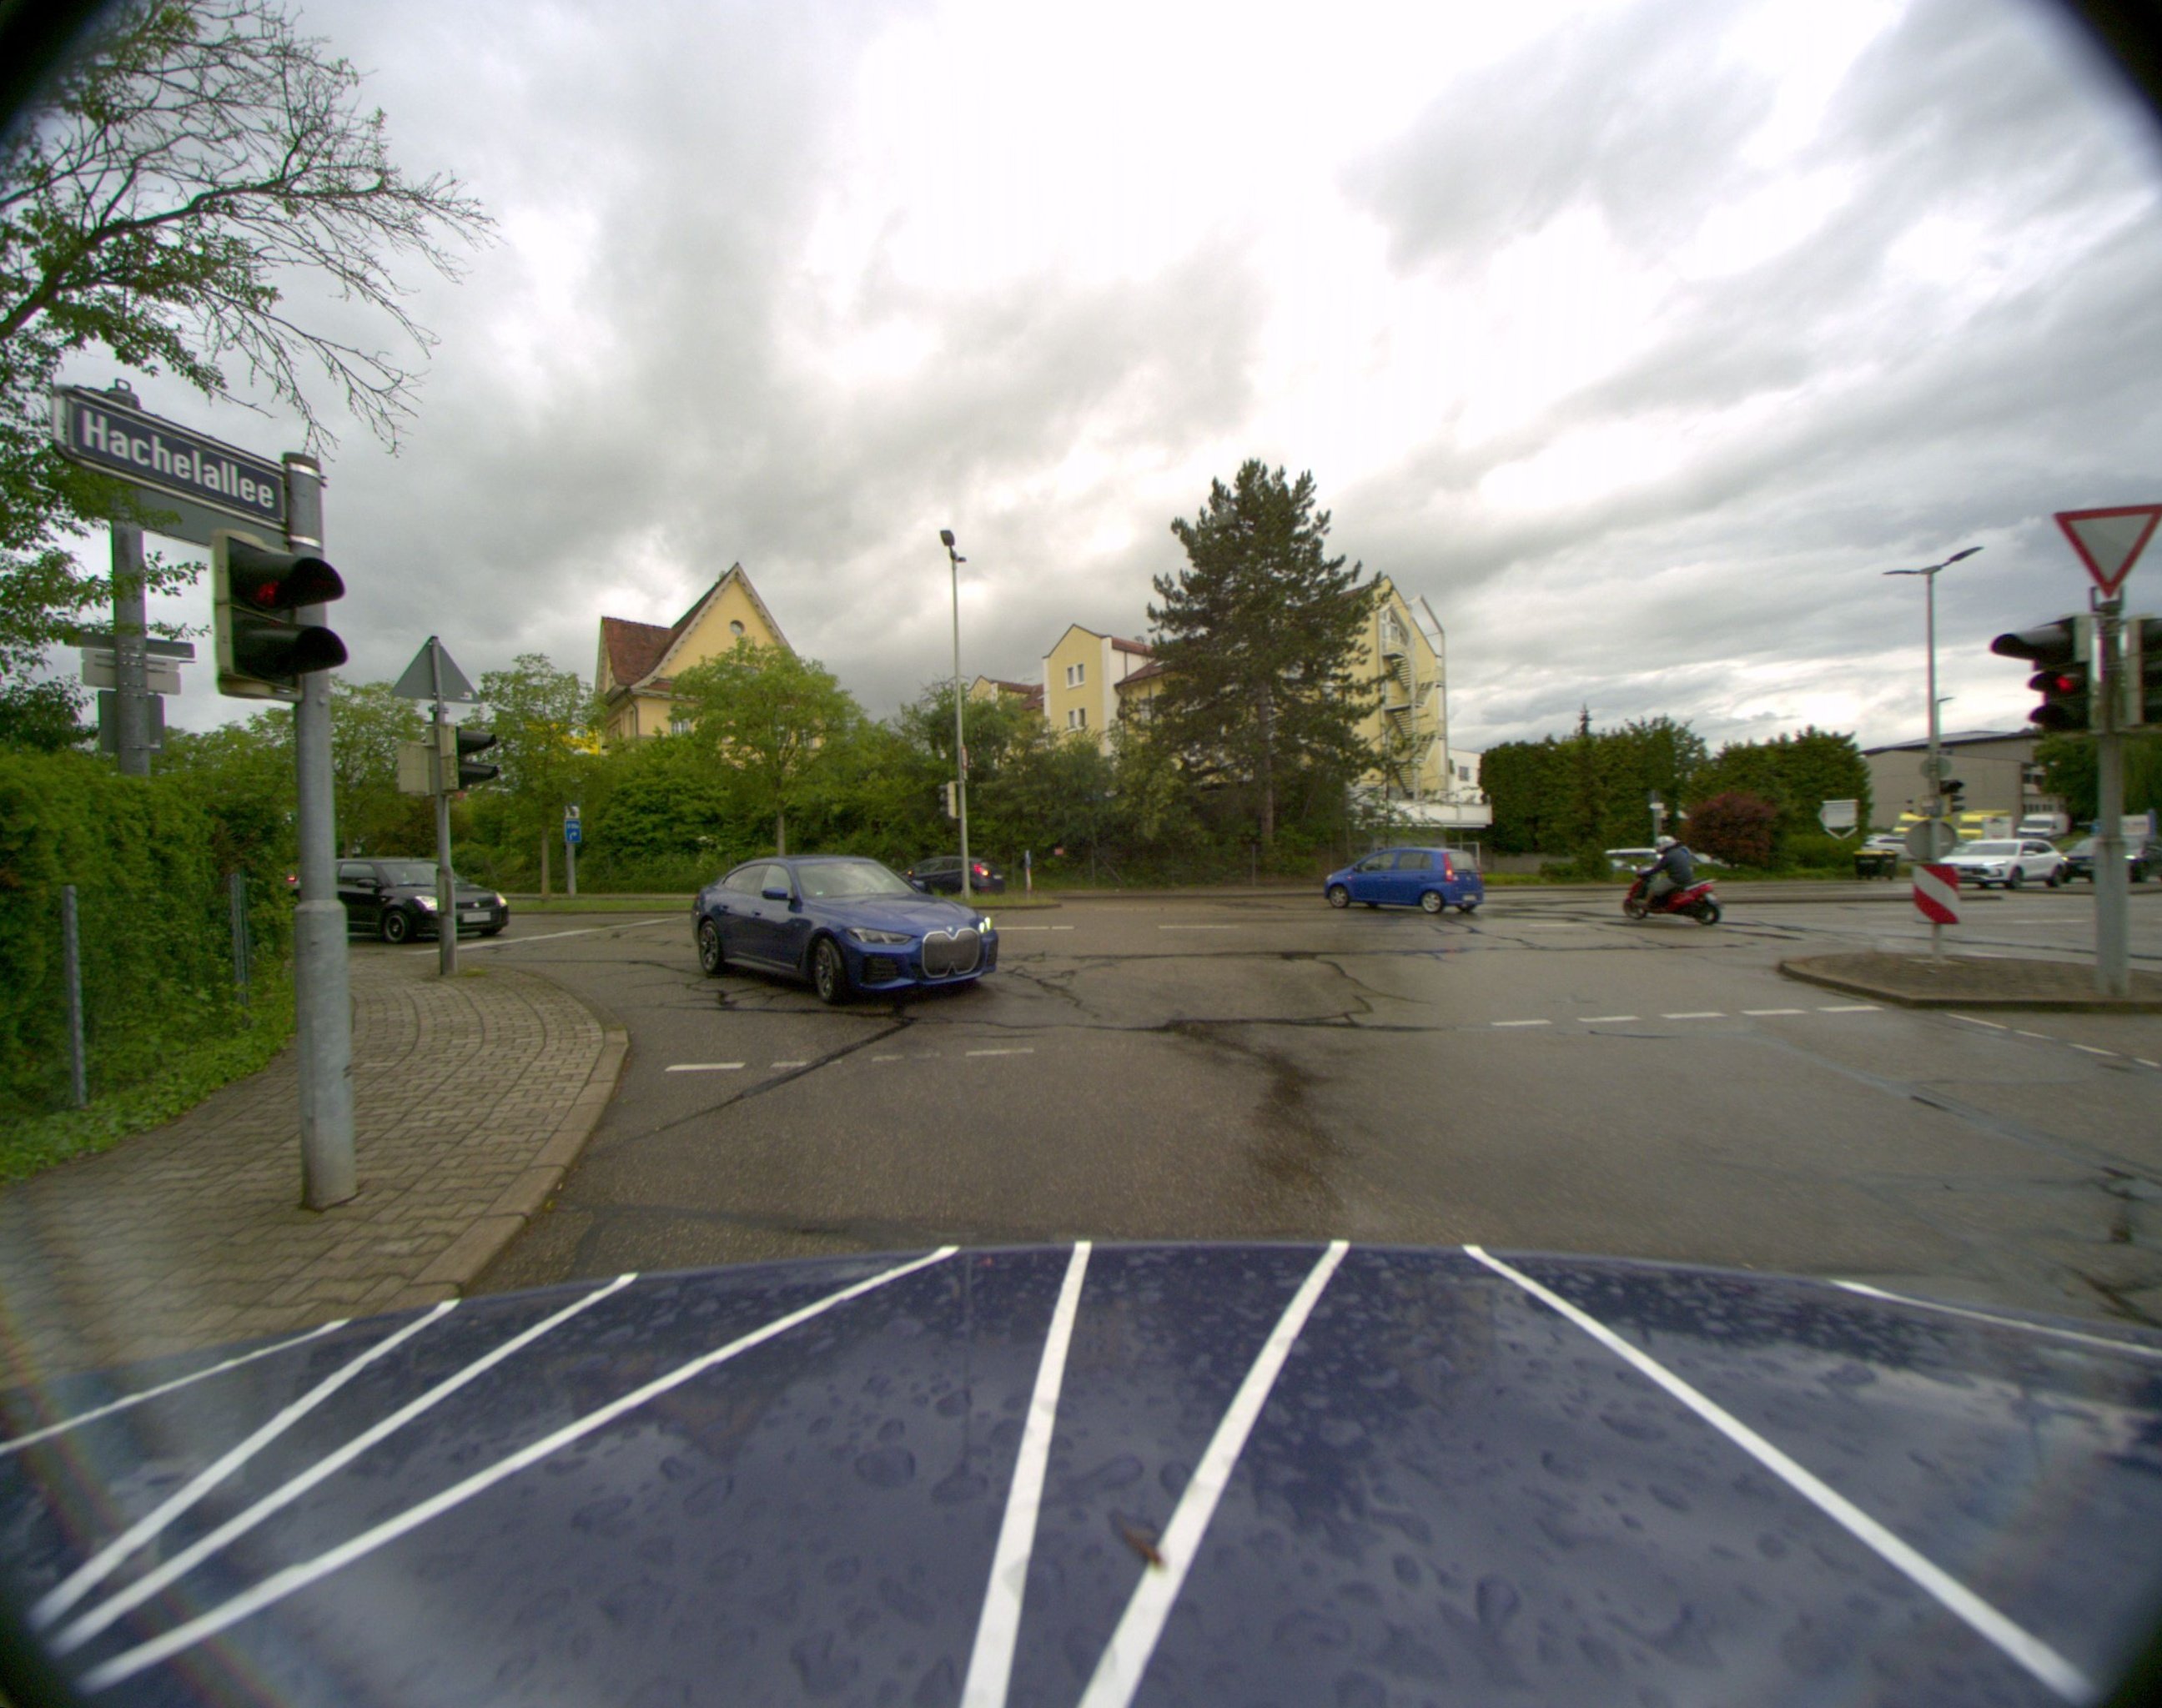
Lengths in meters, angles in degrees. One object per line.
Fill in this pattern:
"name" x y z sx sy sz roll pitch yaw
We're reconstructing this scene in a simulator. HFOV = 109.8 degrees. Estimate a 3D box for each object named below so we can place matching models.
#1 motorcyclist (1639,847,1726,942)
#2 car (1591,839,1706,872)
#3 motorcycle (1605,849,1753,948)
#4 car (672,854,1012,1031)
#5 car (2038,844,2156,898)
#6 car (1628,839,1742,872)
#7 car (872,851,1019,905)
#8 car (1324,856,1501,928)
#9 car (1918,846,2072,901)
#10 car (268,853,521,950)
"motorcyclist" 10.647 0.683 13.471 0.773 1.615 0.937 -1 2 -22
"car" 27.003 0.058 36.319 2.001 1.455 3.993 -2 1 -19
"motorcycle" 10.612 0.731 13.575 0.798 1.615 1.918 -1 2 -22
"car" -3.025 0.816 9.107 4.335 1.488 1.918 1 3 42
"car" 37.616 0.590 28.131 4.005 1.805 1.996 -2 0 -27
"car" 29.341 0.064 37.069 1.734 1.386 3.993 -4 2 -21
"car" -4.151 0.690 23.407 3.991 1.492 1.928 0 2 18
"car" 7.464 0.786 17.392 1.528 1.448 3.431 1 0 -32
"car" 30.466 0.586 25.345 4.003 1.630 1.996 -2 1 -19
"car" -12.594 0.822 13.969 3.991 1.511 1.749 -1 3 21
